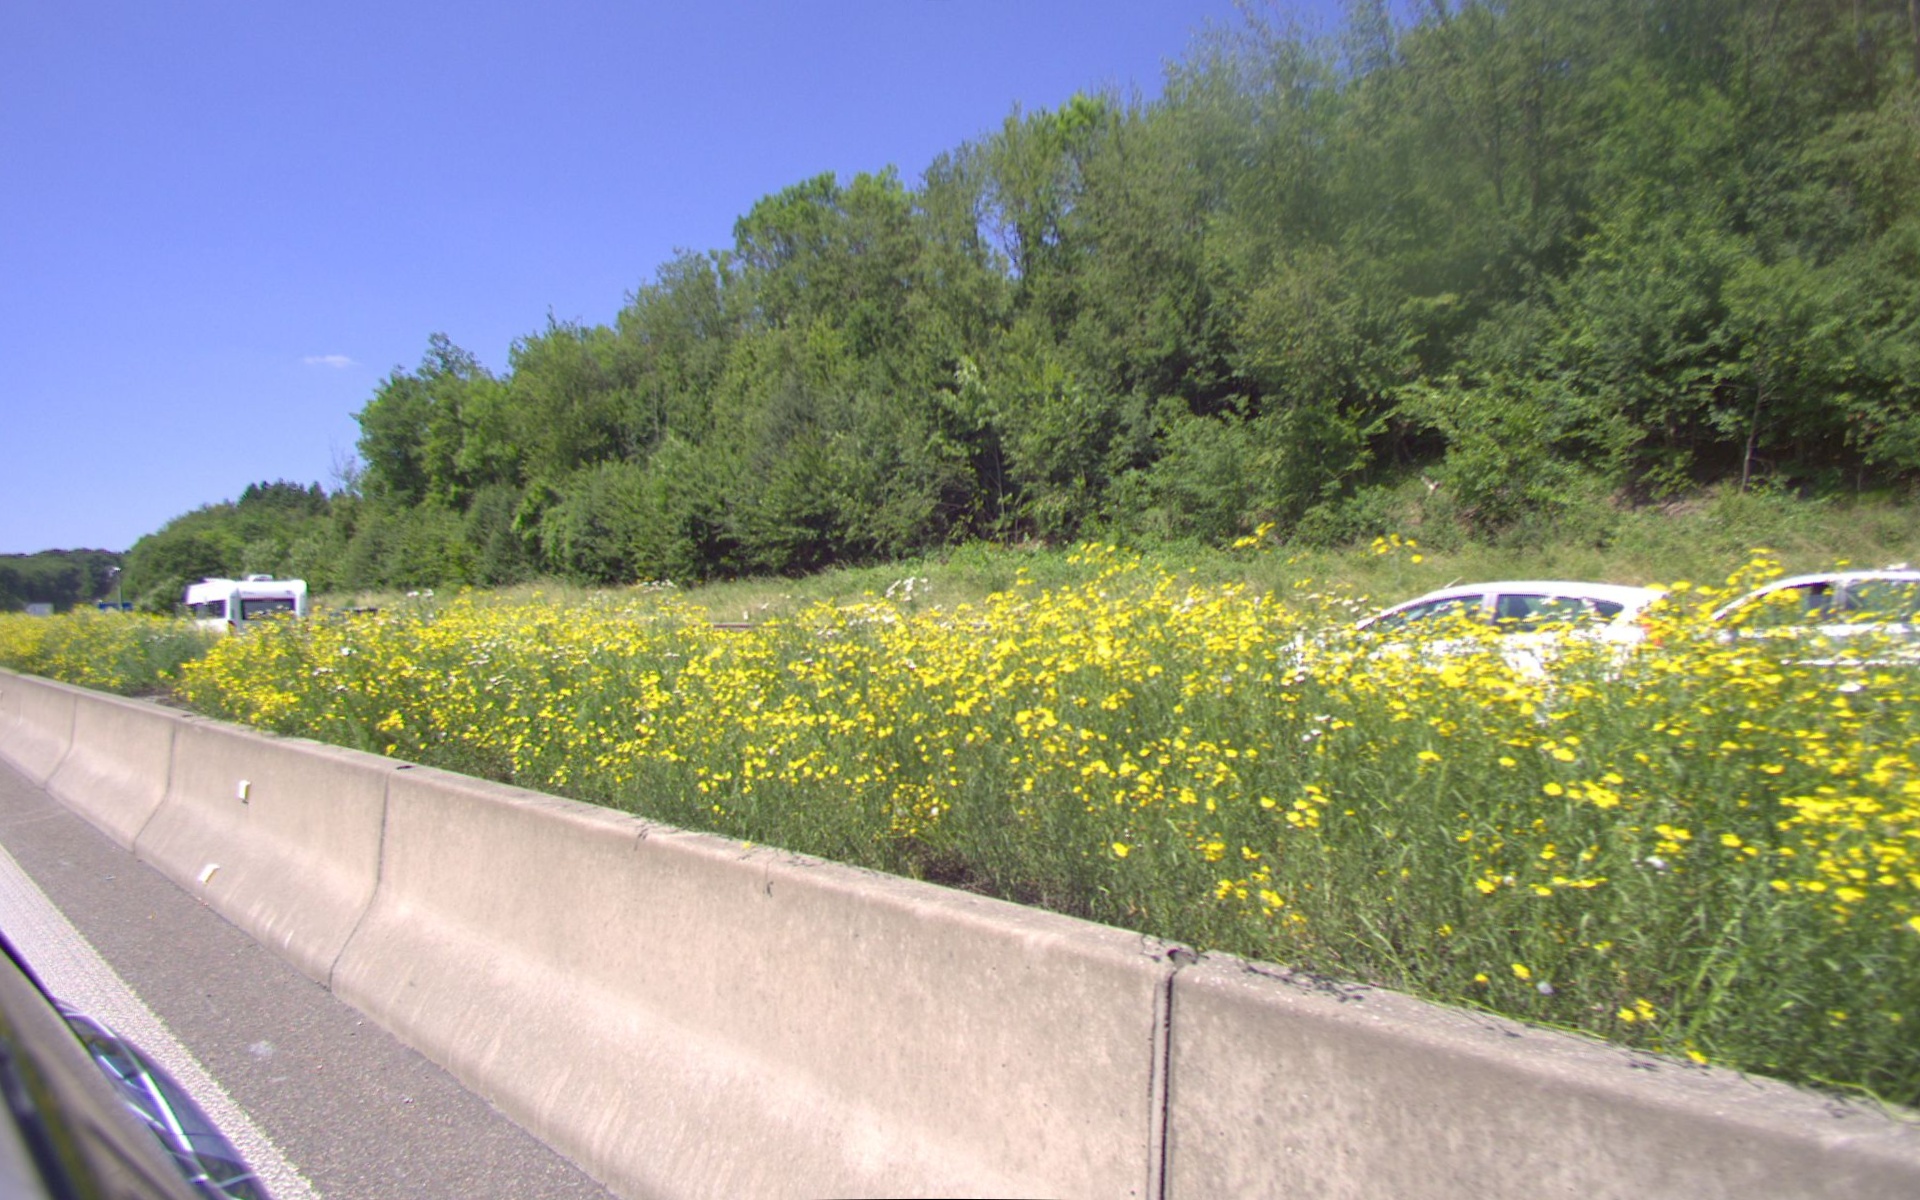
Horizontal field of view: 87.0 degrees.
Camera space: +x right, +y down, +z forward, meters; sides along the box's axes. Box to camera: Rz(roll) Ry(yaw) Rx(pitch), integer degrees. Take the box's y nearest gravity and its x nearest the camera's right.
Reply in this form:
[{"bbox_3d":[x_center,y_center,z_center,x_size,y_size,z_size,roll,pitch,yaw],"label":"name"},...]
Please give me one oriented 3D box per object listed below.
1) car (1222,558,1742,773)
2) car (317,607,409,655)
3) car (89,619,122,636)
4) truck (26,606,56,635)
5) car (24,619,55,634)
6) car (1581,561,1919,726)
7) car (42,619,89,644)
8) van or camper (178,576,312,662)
[{"bbox_3d":[4.777,0.510,9.545,3.998,1.586,1.973,-1,0,41],"label":"car"},{"bbox_3d":[-22.882,1.149,38.716,4.420,1.708,1.737,-1,0,41],"label":"car"},{"bbox_3d":[-87.747,2.811,103.911,4.765,1.705,1.972,-2,0,42],"label":"car"},{"bbox_3d":[-131.354,2.973,144.769,2.794,3.968,13.765,-1,0,-41],"label":"truck"},{"bbox_3d":[-94.877,2.715,104.312,4.005,1.455,1.972,-2,0,42],"label":"car"},{"bbox_3d":[9.273,0.427,11.019,3.998,1.586,1.973,-1,0,41],"label":"car"},{"bbox_3d":[-58.689,2.058,66.385,4.355,1.533,1.820,-1,0,41],"label":"car"},{"bbox_3d":[-24.595,0.636,34.659,7.399,2.656,2.283,-1,0,43],"label":"van or camper"}]
